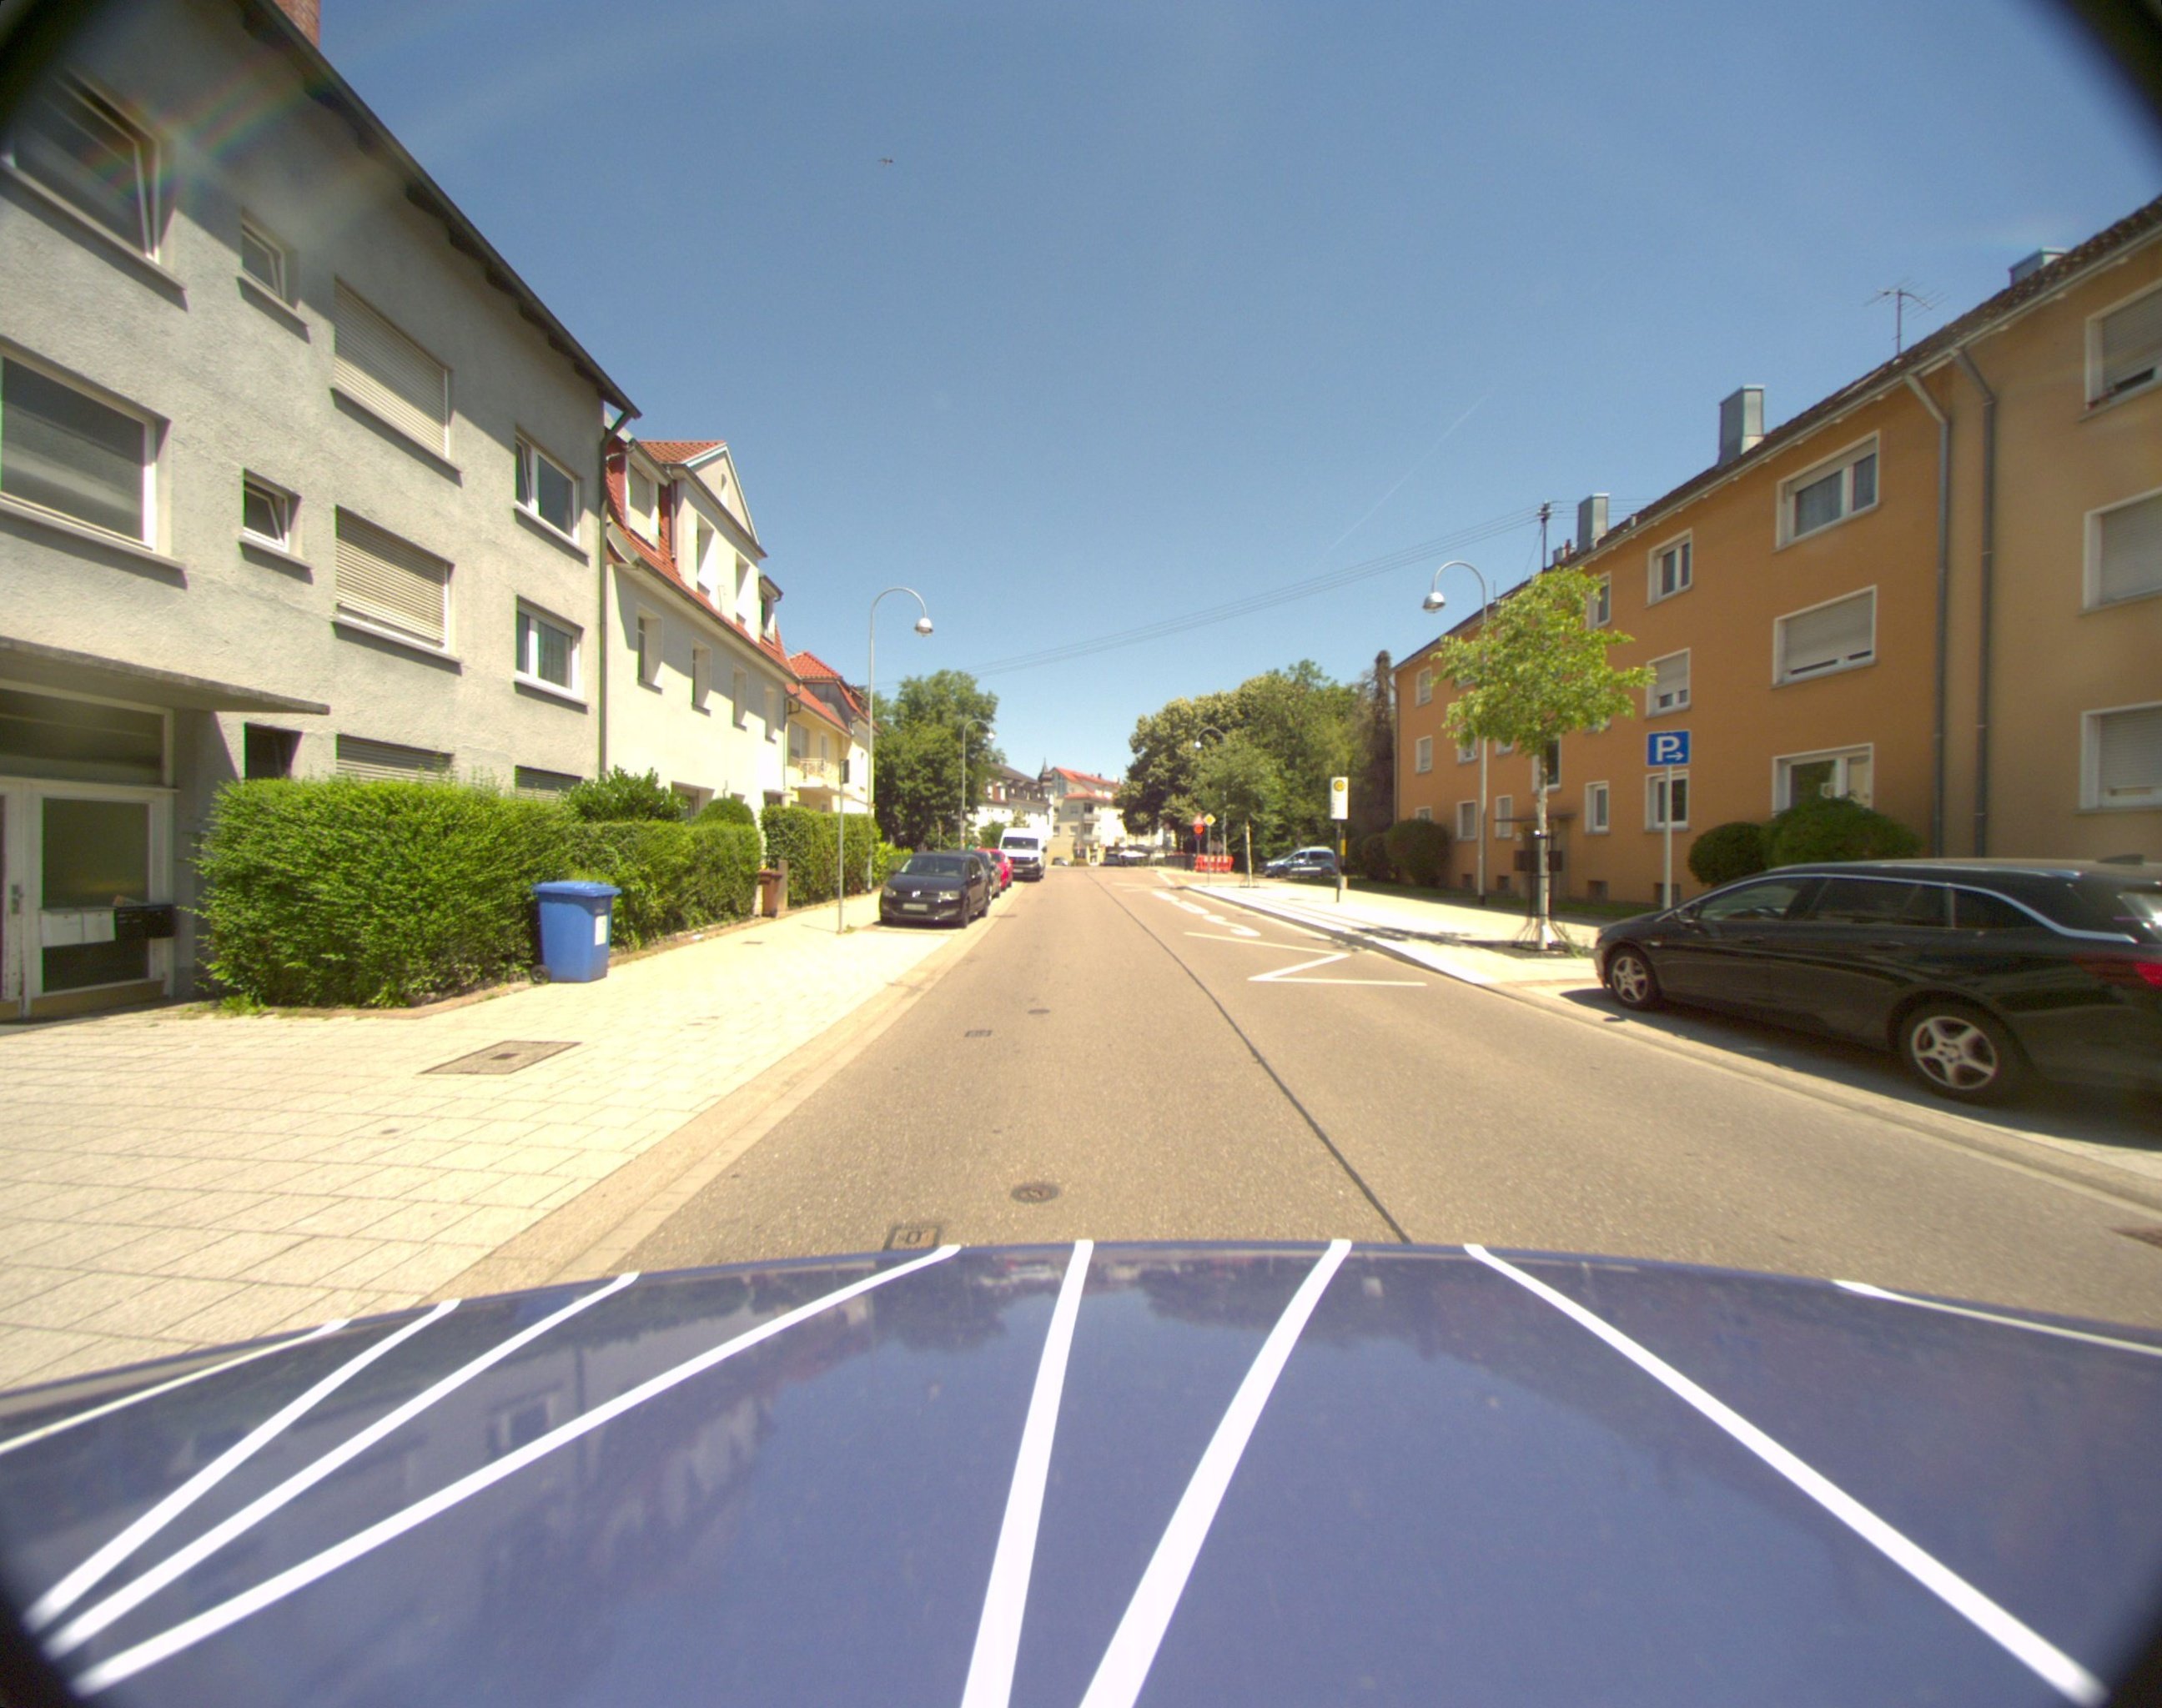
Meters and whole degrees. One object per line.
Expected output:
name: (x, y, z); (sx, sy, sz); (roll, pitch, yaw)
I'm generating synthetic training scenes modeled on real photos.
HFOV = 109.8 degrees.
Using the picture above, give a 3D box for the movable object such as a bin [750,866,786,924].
movable object such as a bin: (-6.130, 0.799, 14.898); (0.488, 1.097, 0.555); (0, 1, 0)

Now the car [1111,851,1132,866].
car: (4.112, 0.457, 78.248); (1.998, 1.498, 4.288); (0, 0, 1)

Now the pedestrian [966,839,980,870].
pedestrian: (-5.993, 0.017, 42.175); (0.522, 1.696, 0.802); (3, 0, -21)

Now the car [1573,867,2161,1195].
car: (6.228, 0.920, 5.792); (1.862, 1.498, 4.561); (-2, 0, -2)

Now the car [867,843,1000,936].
car: (-2.905, 0.646, 15.852); (1.732, 1.623, 4.001); (3, 0, 3)

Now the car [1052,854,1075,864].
car: (-2.641, 0.754, 114.402); (3.038, 1.444, 1.570); (-2, 0, 21)

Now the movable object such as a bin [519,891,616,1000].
movable object such as a bin: (-5.458, 0.949, 8.099); (0.595, 1.070, 0.647); (1, 1, -1)

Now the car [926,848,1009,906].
car: (-3.299, 0.616, 22.913); (1.808, 1.466, 4.719); (3, 1, -1)

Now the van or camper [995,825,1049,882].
van or camper: (-2.740, -0.085, 36.846); (2.114, 2.453, 6.174); (2, 1, 0)

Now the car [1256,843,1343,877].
car: (12.514, 0.338, 43.681); (4.439, 1.863, 1.817); (1, 1, -11)

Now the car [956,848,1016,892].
car: (-3.459, 0.536, 28.268); (1.808, 1.521, 4.149); (0, 1, -1)

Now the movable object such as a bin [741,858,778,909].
movable object such as a bin: (-6.943, 0.632, 16.434); (0.501, 1.079, 0.671); (0, 1, 0)
